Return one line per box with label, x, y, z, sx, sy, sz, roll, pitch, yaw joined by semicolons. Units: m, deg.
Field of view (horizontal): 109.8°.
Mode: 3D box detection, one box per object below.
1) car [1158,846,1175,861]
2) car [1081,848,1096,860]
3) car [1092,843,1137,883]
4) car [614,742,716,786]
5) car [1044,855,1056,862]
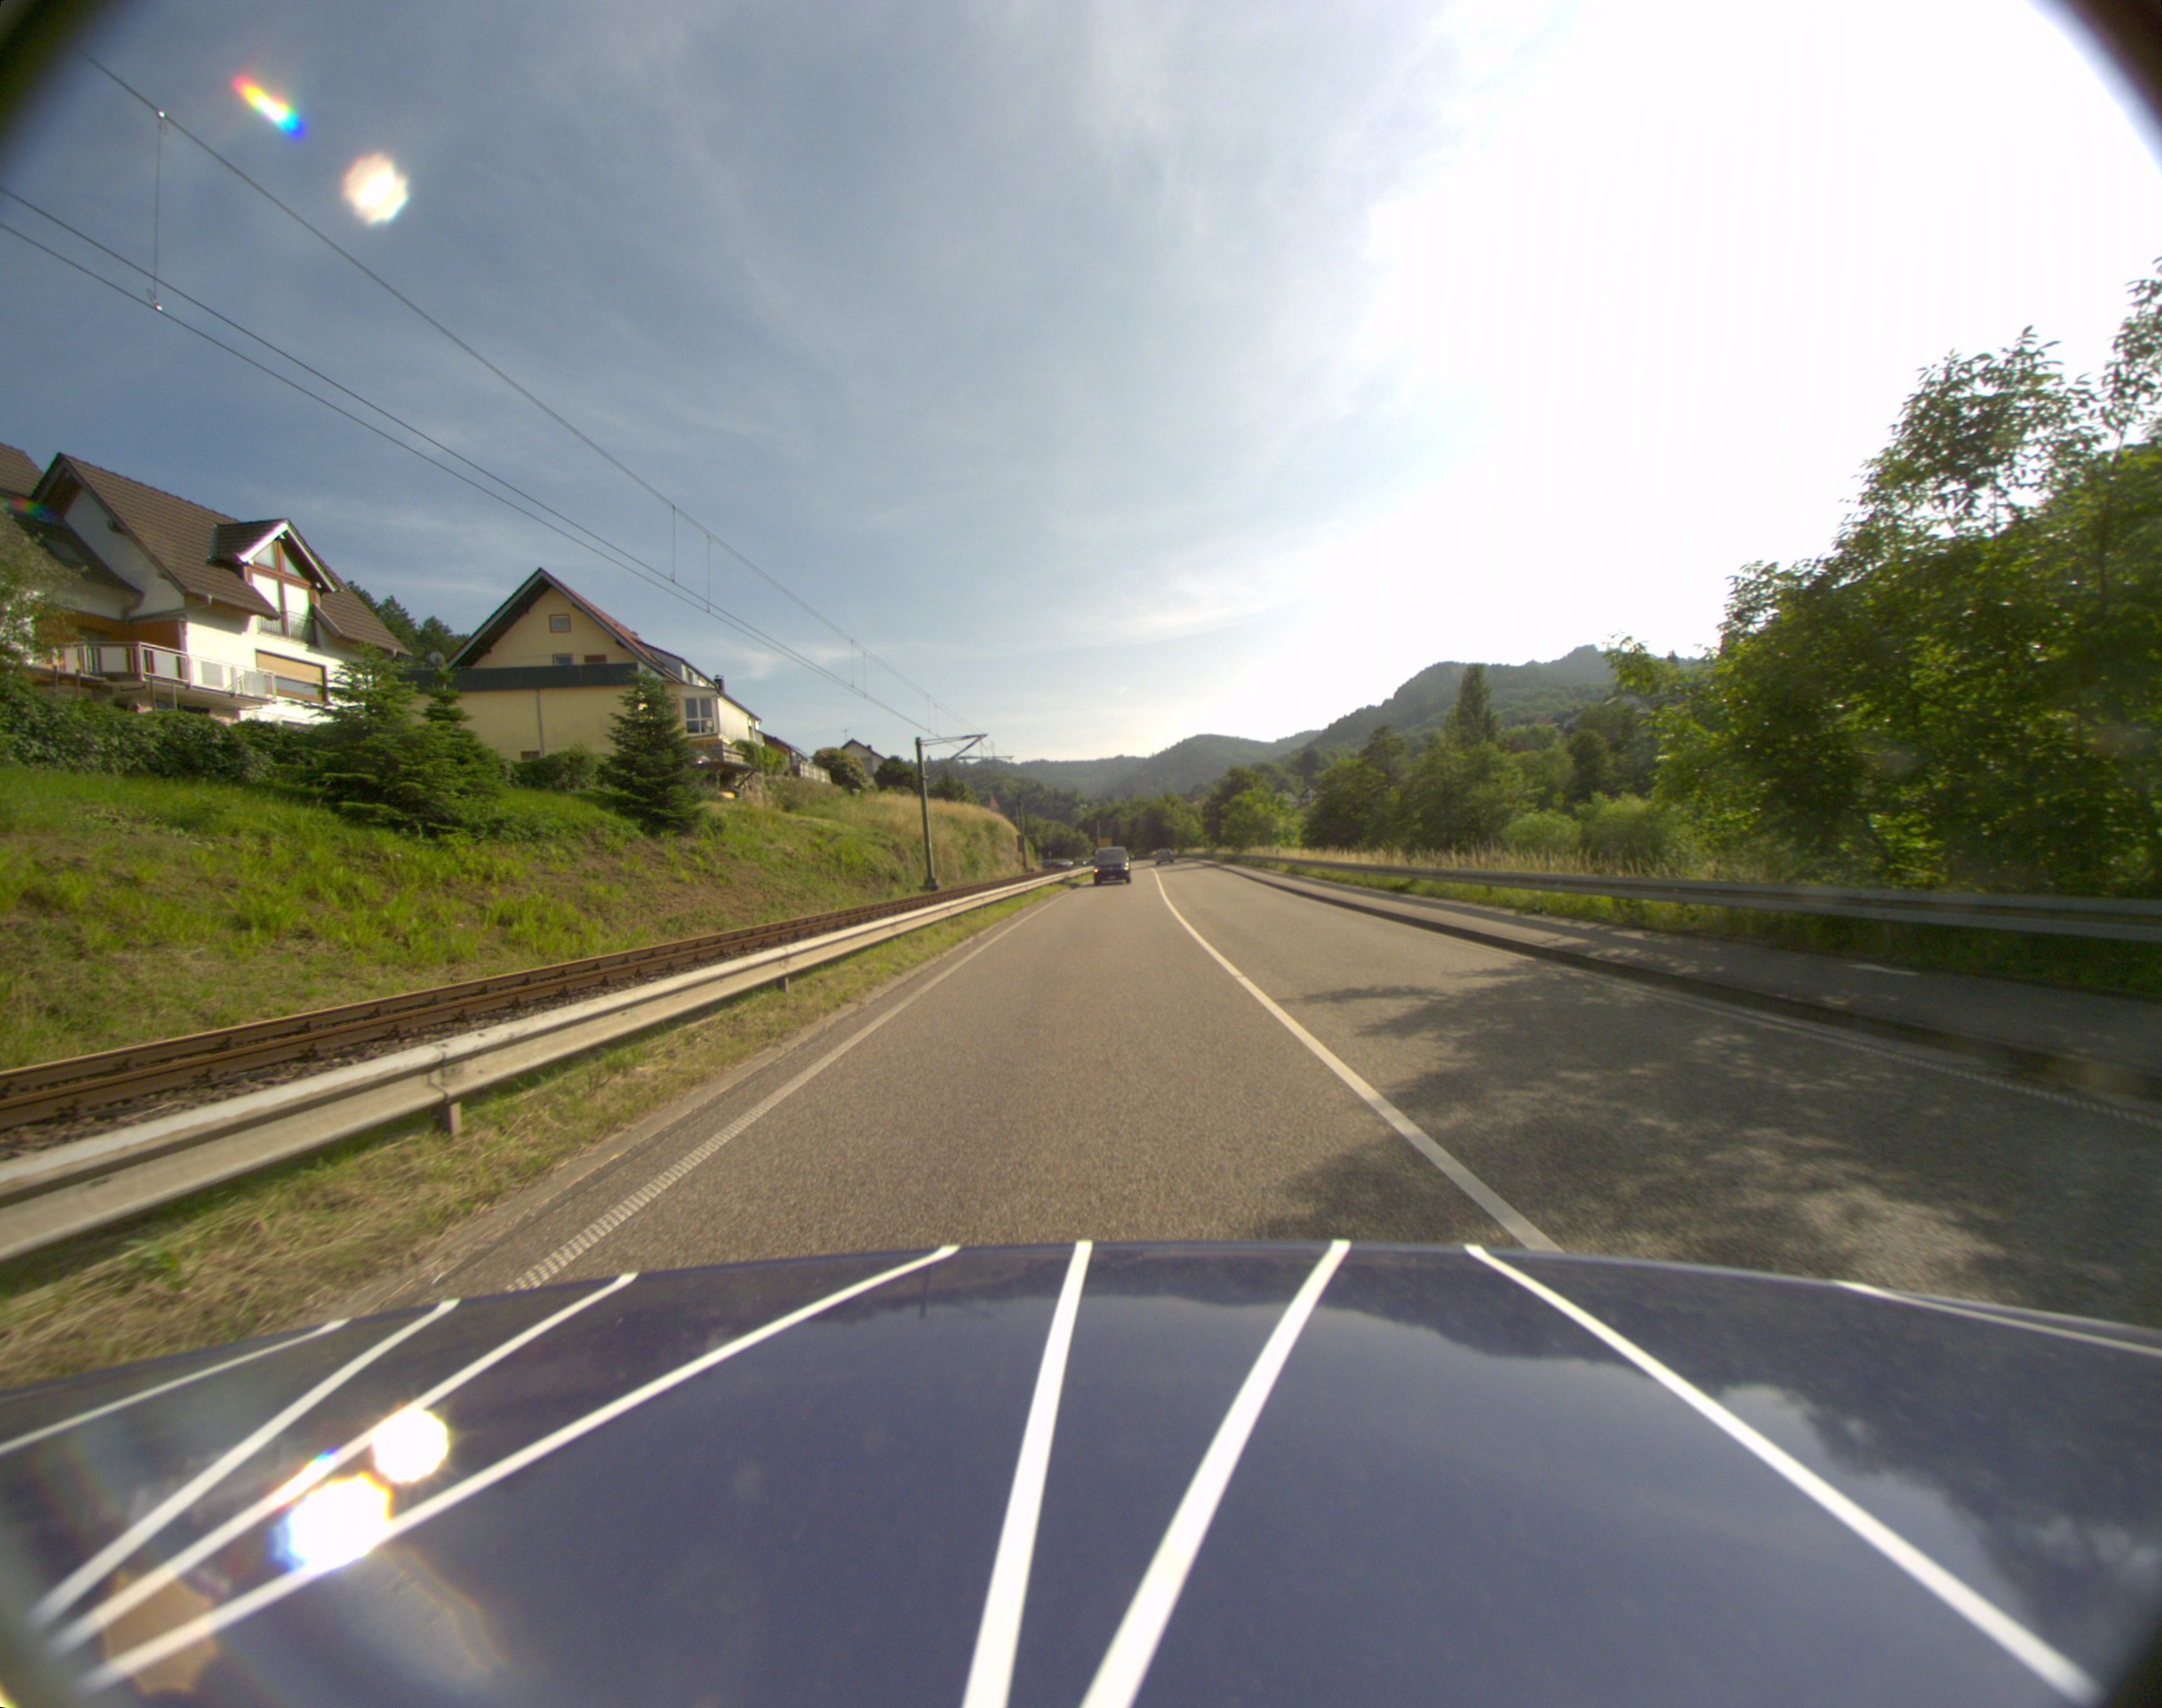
car;8.735;-0.086;78.112;1.581;1.471;4.001;-4;0;5
car;1.126;0.051;121.676;1.886;1.735;4.176;-4;0;-5
car;1.831;0.434;40.466;2.017;1.905;4.314;-4;0;6
car;-19.954;-4.313;36.549;3.750;1.531;1.752;-7;2;-3
car;-7.048;1.014;172.178;1.758;1.558;3.995;-4;0;-17
